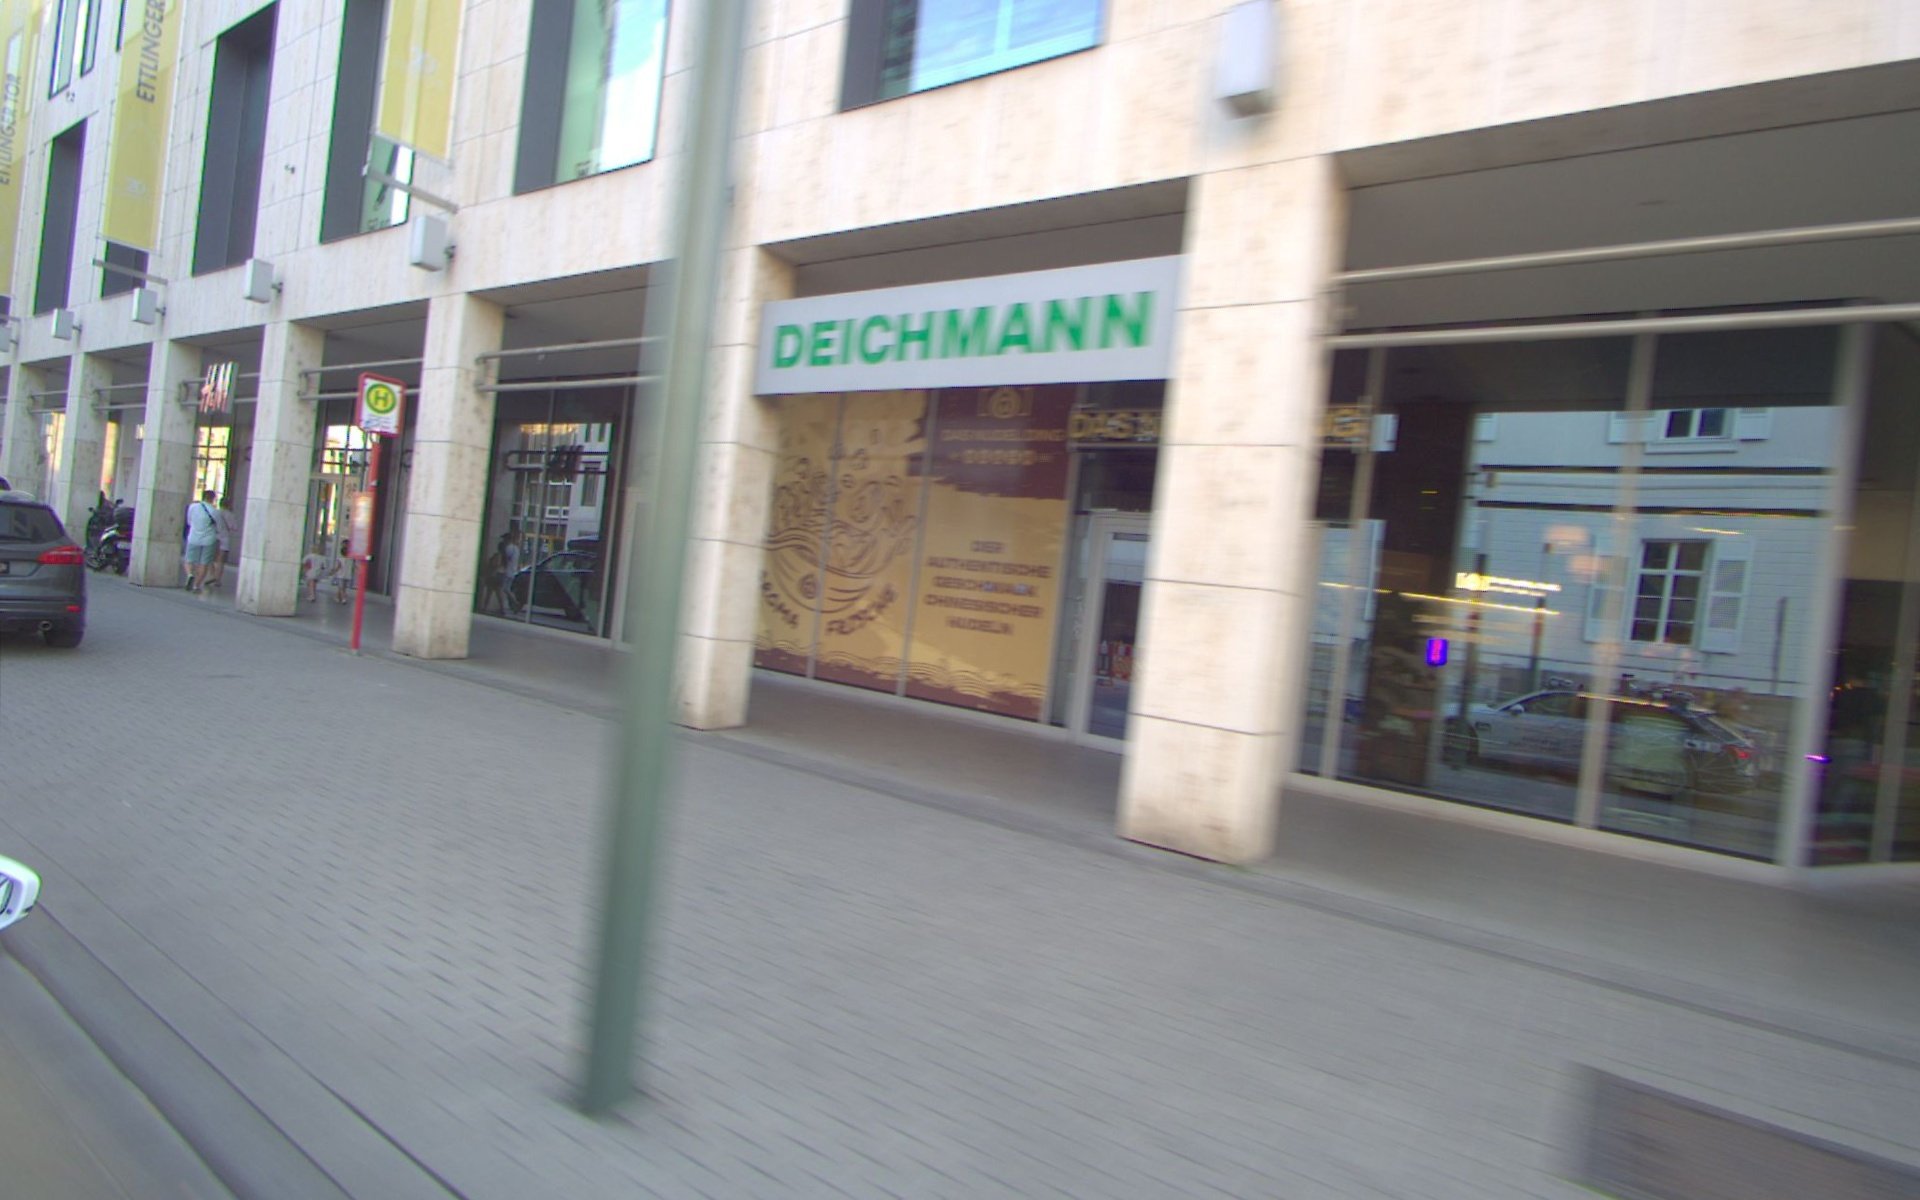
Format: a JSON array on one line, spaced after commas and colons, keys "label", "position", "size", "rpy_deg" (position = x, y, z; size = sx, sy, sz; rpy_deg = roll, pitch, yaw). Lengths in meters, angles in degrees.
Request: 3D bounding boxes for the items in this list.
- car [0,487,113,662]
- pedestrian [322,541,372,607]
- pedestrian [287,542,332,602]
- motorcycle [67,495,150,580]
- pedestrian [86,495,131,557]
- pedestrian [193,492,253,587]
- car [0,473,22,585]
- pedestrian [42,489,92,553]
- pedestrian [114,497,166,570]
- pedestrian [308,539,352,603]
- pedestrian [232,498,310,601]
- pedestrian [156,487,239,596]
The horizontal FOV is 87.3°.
[{"label": "car", "position": [-10.110, -0.398, 9.857], "size": [4.127, 1.510, 1.793], "rpy_deg": [6, 3, 35]}, {"label": "pedestrian", "position": [-11.196, -0.476, 18.368], "size": [0.592, 1.111, 0.487], "rpy_deg": [9, 2, 34]}, {"label": "pedestrian", "position": [-11.663, -0.500, 18.047], "size": [0.517, 0.998, 0.420], "rpy_deg": [9, 2, 34]}, {"label": "motorcycle", "position": [-16.427, -1.217, 19.387], "size": [2.103, 1.434, 0.692], "rpy_deg": [7, 0, 37]}, {"label": "pedestrian", "position": [-23.043, -2.005, 27.235], "size": [0.763, 1.561, 0.634], "rpy_deg": [7, 0, 34]}, {"label": "pedestrian", "position": [-14.129, -1.158, 19.293], "size": [0.685, 1.720, 0.591], "rpy_deg": [7, 1, 33]}, {"label": "car", "position": [-16.294, -1.248, 15.613], "size": [3.994, 1.660, 1.766], "rpy_deg": [6, 3, 35]}, {"label": "pedestrian", "position": [-23.572, -2.085, 26.552], "size": [0.717, 1.561, 0.724], "rpy_deg": [7, 0, 35]}, {"label": "pedestrian", "position": [-19.230, -1.559, 23.586], "size": [0.762, 1.587, 0.634], "rpy_deg": [9, 2, 34]}, {"label": "pedestrian", "position": [-11.719, -0.535, 18.708], "size": [0.517, 1.111, 0.420], "rpy_deg": [9, 2, 34]}, {"label": "pedestrian", "position": [-12.462, -0.905, 18.198], "size": [0.863, 1.702, 0.765], "rpy_deg": [9, 2, 34]}, {"label": "pedestrian", "position": [-13.074, -0.999, 17.249], "size": [0.863, 1.702, 0.765], "rpy_deg": [9, 2, 34]}]
